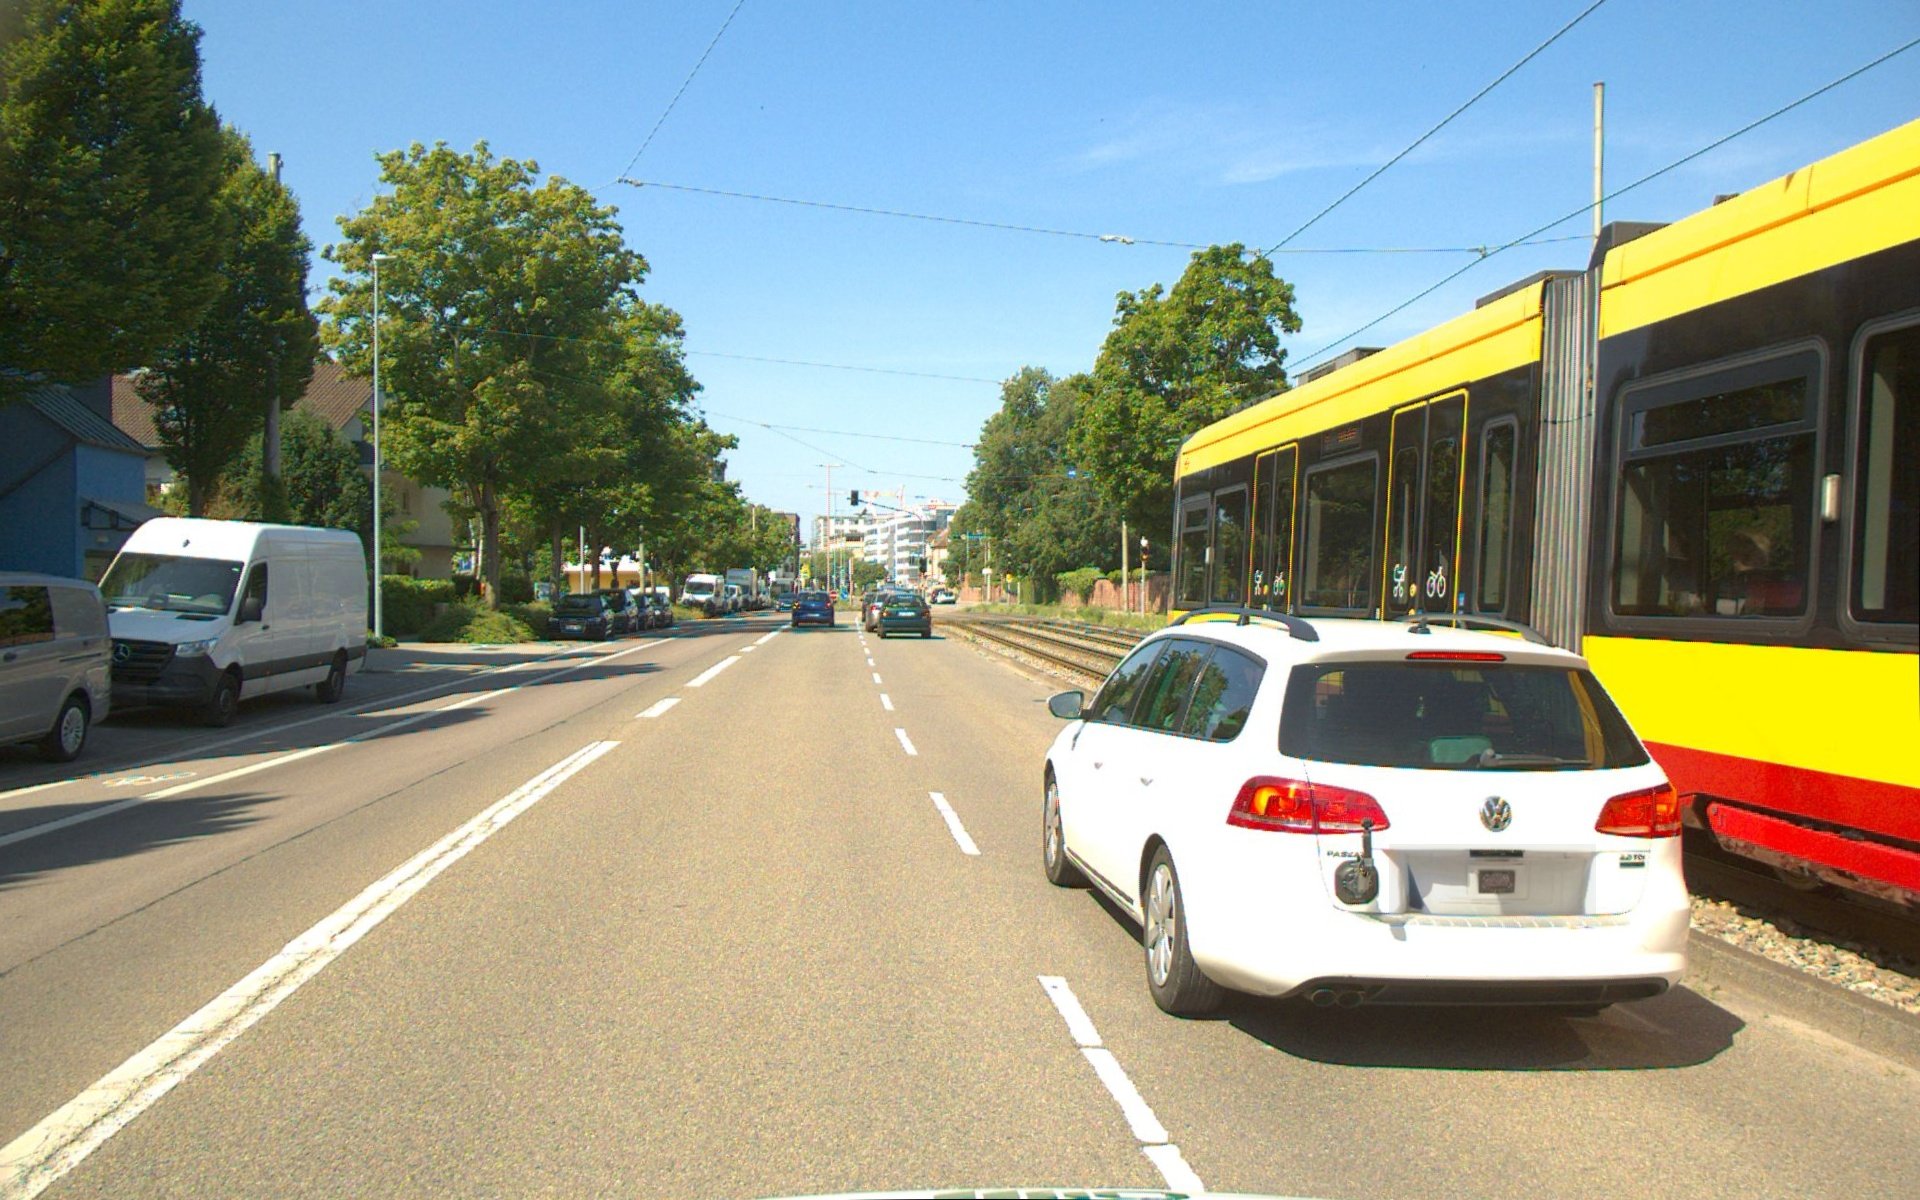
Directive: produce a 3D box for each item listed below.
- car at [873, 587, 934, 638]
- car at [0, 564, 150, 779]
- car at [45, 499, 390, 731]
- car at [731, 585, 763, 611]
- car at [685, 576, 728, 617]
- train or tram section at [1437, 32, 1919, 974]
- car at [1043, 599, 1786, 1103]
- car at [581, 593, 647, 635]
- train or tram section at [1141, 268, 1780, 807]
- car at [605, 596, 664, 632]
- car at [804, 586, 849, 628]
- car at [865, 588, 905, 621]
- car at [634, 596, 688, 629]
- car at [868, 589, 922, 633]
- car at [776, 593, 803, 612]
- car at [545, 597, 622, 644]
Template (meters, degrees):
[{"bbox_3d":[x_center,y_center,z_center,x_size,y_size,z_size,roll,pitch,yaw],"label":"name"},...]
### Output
[{"bbox_3d":[-1.857,0.366,53.178,1.765,1.533,3.996,1,1,-5],"label":"car"},{"bbox_3d":[-9.874,0.628,15.793,1.882,1.982,5.349,3,0,-4],"label":"car"},{"bbox_3d":[-10.338,0.180,23.871,1.955,2.761,7.152,3,0,-3],"label":"car"},{"bbox_3d":[-15.624,-0.140,121.707,1.789,1.900,4.724,0,0,-1],"label":"car"},{"bbox_3d":[-15.507,-0.213,101.404,1.842,2.458,5.115,0,0,-1],"label":"car"},{"bbox_3d":[5.248,-0.384,5.331,2.462,3.812,13.296,0,0,-5],"label":"train or tram section"},{"bbox_3d":[1.521,0.753,7.275,1.659,1.476,4.453,0,0,-6],"label":"car"},{"bbox_3d":[-12.895,0.492,61.861,1.665,1.508,3.999,0,0,-1],"label":"car"},{"bbox_3d":[4.308,-0.495,18.427,2.461,3.812,13.303,0,0,-3],"label":"train or tram section"},{"bbox_3d":[-13.206,0.544,67.265,1.665,1.376,3.999,0,0,-1],"label":"car"},{"bbox_3d":[-5.401,0.258,66.968,1.765,1.533,3.997,1,1,-5],"label":"car"},{"bbox_3d":[-3.539,0.201,77.502,1.765,1.486,3.996,0,0,-5],"label":"car"},{"bbox_3d":[-13.089,0.520,72.585,1.665,1.376,3.999,0,0,-1],"label":"car"},{"bbox_3d":[-2.397,0.378,60.368,1.765,1.485,3.996,1,1,-5],"label":"car"},{"bbox_3d":[-12.207,0.151,118.749,1.665,1.295,3.998,0,0,-2],"label":"car"},{"bbox_3d":[-12.343,0.646,54.404,1.665,1.442,3.999,0,0,-1],"label":"car"}]
